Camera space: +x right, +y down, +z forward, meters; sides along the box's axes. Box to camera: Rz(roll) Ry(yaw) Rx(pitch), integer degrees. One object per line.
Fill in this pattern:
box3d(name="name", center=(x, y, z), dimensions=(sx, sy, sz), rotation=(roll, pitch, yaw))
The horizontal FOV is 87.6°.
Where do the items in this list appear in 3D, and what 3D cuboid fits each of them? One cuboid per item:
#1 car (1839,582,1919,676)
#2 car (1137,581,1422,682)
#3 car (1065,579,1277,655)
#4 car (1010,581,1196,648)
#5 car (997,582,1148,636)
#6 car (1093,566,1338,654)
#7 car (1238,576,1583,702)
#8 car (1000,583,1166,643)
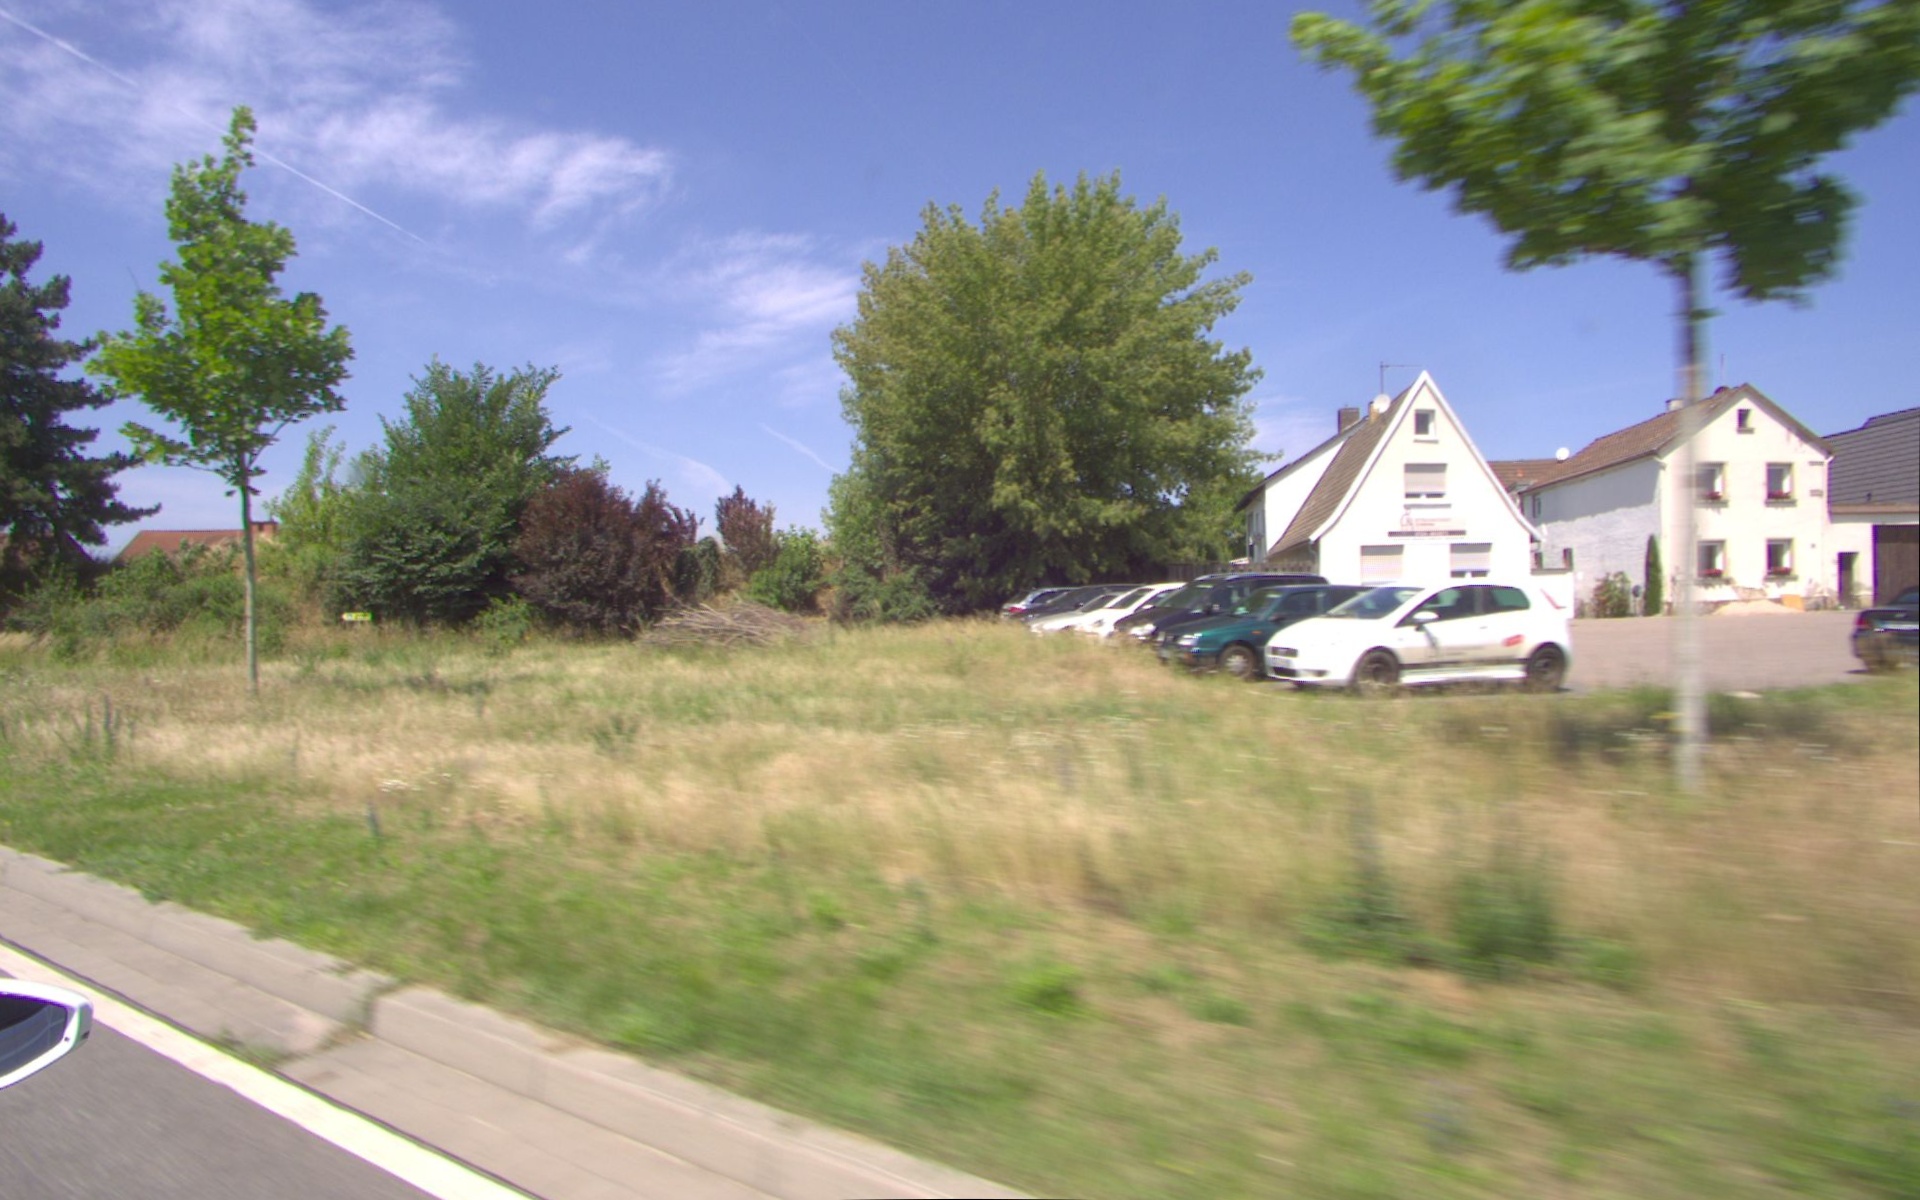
box3d(name="car", center=(15.449, 0.373, 14.949), dimensions=(3.930, 1.328, 1.744), rotation=(-1, 0, -18))
box3d(name="car", center=(4.939, 0.476, 15.691), dimensions=(3.892, 1.462, 1.772), rotation=(0, 0, -11))
box3d(name="car", center=(4.302, 0.350, 20.671), dimensions=(3.892, 1.462, 1.772), rotation=(0, 0, -11))
box3d(name="car", center=(3.258, 0.329, 23.113), dimensions=(3.893, 1.462, 1.772), rotation=(0, 0, -12))
box3d(name="car", center=(3.160, 0.275, 28.383), dimensions=(3.893, 1.462, 1.772), rotation=(0, 0, -12))
box3d(name="car", center=(4.534, 0.187, 17.987), dimensions=(3.892, 1.462, 1.772), rotation=(0, 0, -11))
box3d(name="car", center=(5.918, 0.465, 13.303), dimensions=(3.926, 1.447, 1.745), rotation=(-1, 0, -13))
box3d(name="car", center=(3.115, 0.339, 25.712), dimensions=(3.893, 1.462, 1.772), rotation=(0, 0, -12))
